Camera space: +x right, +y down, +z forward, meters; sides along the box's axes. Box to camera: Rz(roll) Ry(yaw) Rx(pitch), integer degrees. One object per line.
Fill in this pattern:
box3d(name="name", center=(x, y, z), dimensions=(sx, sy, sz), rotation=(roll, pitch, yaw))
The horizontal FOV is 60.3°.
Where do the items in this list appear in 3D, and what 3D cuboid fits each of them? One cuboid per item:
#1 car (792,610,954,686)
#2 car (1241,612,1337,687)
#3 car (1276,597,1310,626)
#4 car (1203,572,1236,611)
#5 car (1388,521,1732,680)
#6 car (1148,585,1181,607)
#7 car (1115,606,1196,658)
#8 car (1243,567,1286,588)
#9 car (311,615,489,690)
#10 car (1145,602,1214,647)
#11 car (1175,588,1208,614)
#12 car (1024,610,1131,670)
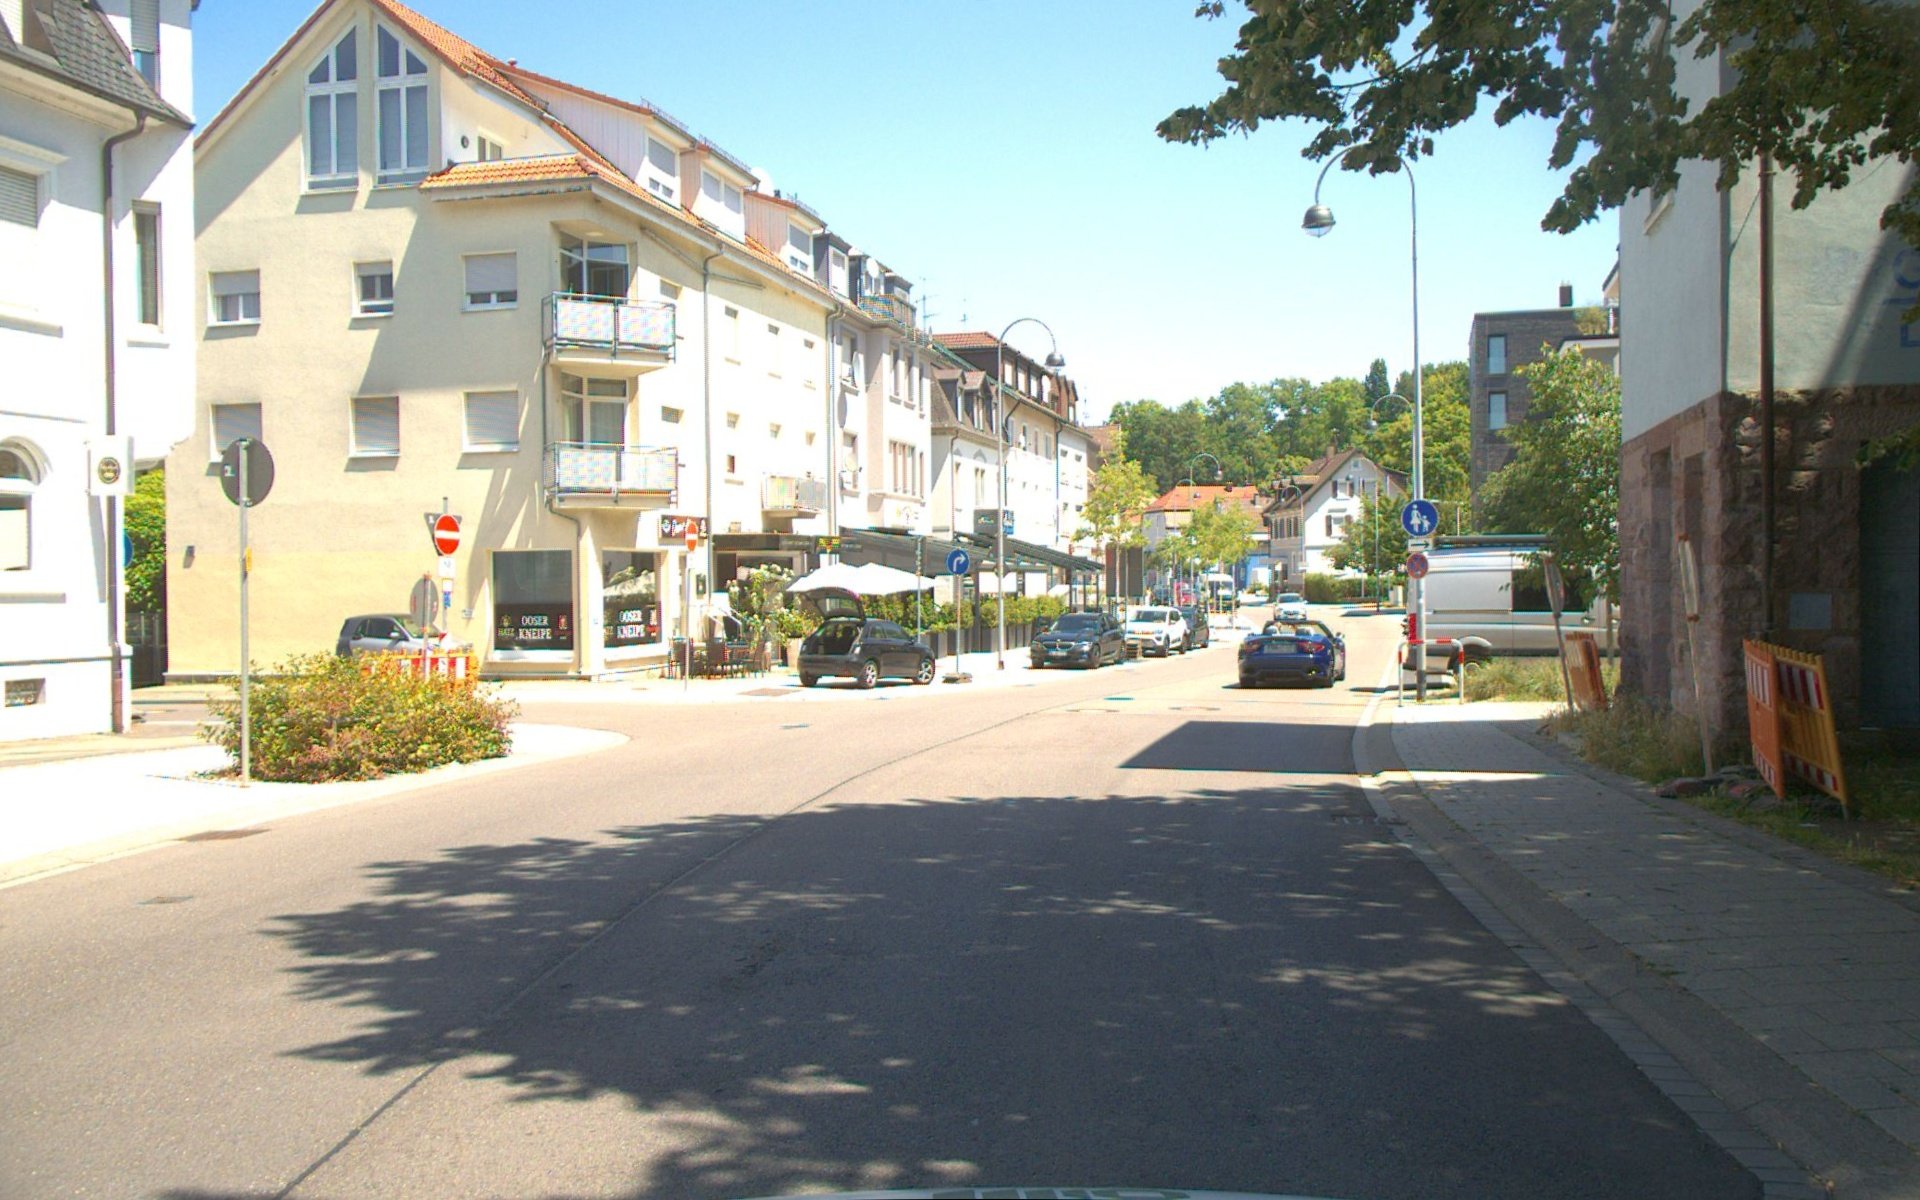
box3d(name="car", center=(-1.809, 1.000, 35.862), dimensions=(1.679, 1.486, 4.125), rotation=(2, 0, 26))
box3d(name="car", center=(6.917, 0.974, 34.494), dimensions=(1.831, 1.365, 4.600), rotation=(0, 0, 13))
box3d(name="car", center=(18.054, 0.607, 89.592), dimensions=(1.651, 1.484, 4.062), rotation=(-3, 0, 13))
box3d(name="car", center=(16.928, -0.570, 108.105), dimensions=(1.827, 2.442, 4.821), rotation=(-1, 0, 5))
box3d(name="car", center=(11.042, 0.047, 30.881), dimensions=(5.814, 2.780, 2.197), rotation=(-1, 0, 17))
box3d(name="car", center=(16.014, -0.311, 129.761), dimensions=(1.954, 1.722, 3.998), rotation=(0, 1, -3))
box3d(name="car", center=(6.274, 0.993, 52.753), dimensions=(1.611, 1.505, 3.941), rotation=(1, 1, 21))
box3d(name="car", center=(32.252, -2.386, 175.038), dimensions=(4.208, 2.049, 1.982), rotation=(1, -2, -28))
box3d(name="car", center=(-12.006, 1.117, 35.542), dimensions=(3.193, 1.484, 1.693), rotation=(-1, 0, 12))
box3d(name="car", center=(7.725, 0.840, 57.965), dimensions=(1.635, 1.469, 4.011), rotation=(-1, 0, 19))
box3d(name="car", center=(16.414, 0.088, 117.363), dimensions=(1.952, 1.769, 4.002), rotation=(-1, 0, 3))
box3d(name="car", center=(3.308, 1.056, 45.700), dimensions=(1.796, 1.454, 4.784), rotation=(1, 1, 19))
